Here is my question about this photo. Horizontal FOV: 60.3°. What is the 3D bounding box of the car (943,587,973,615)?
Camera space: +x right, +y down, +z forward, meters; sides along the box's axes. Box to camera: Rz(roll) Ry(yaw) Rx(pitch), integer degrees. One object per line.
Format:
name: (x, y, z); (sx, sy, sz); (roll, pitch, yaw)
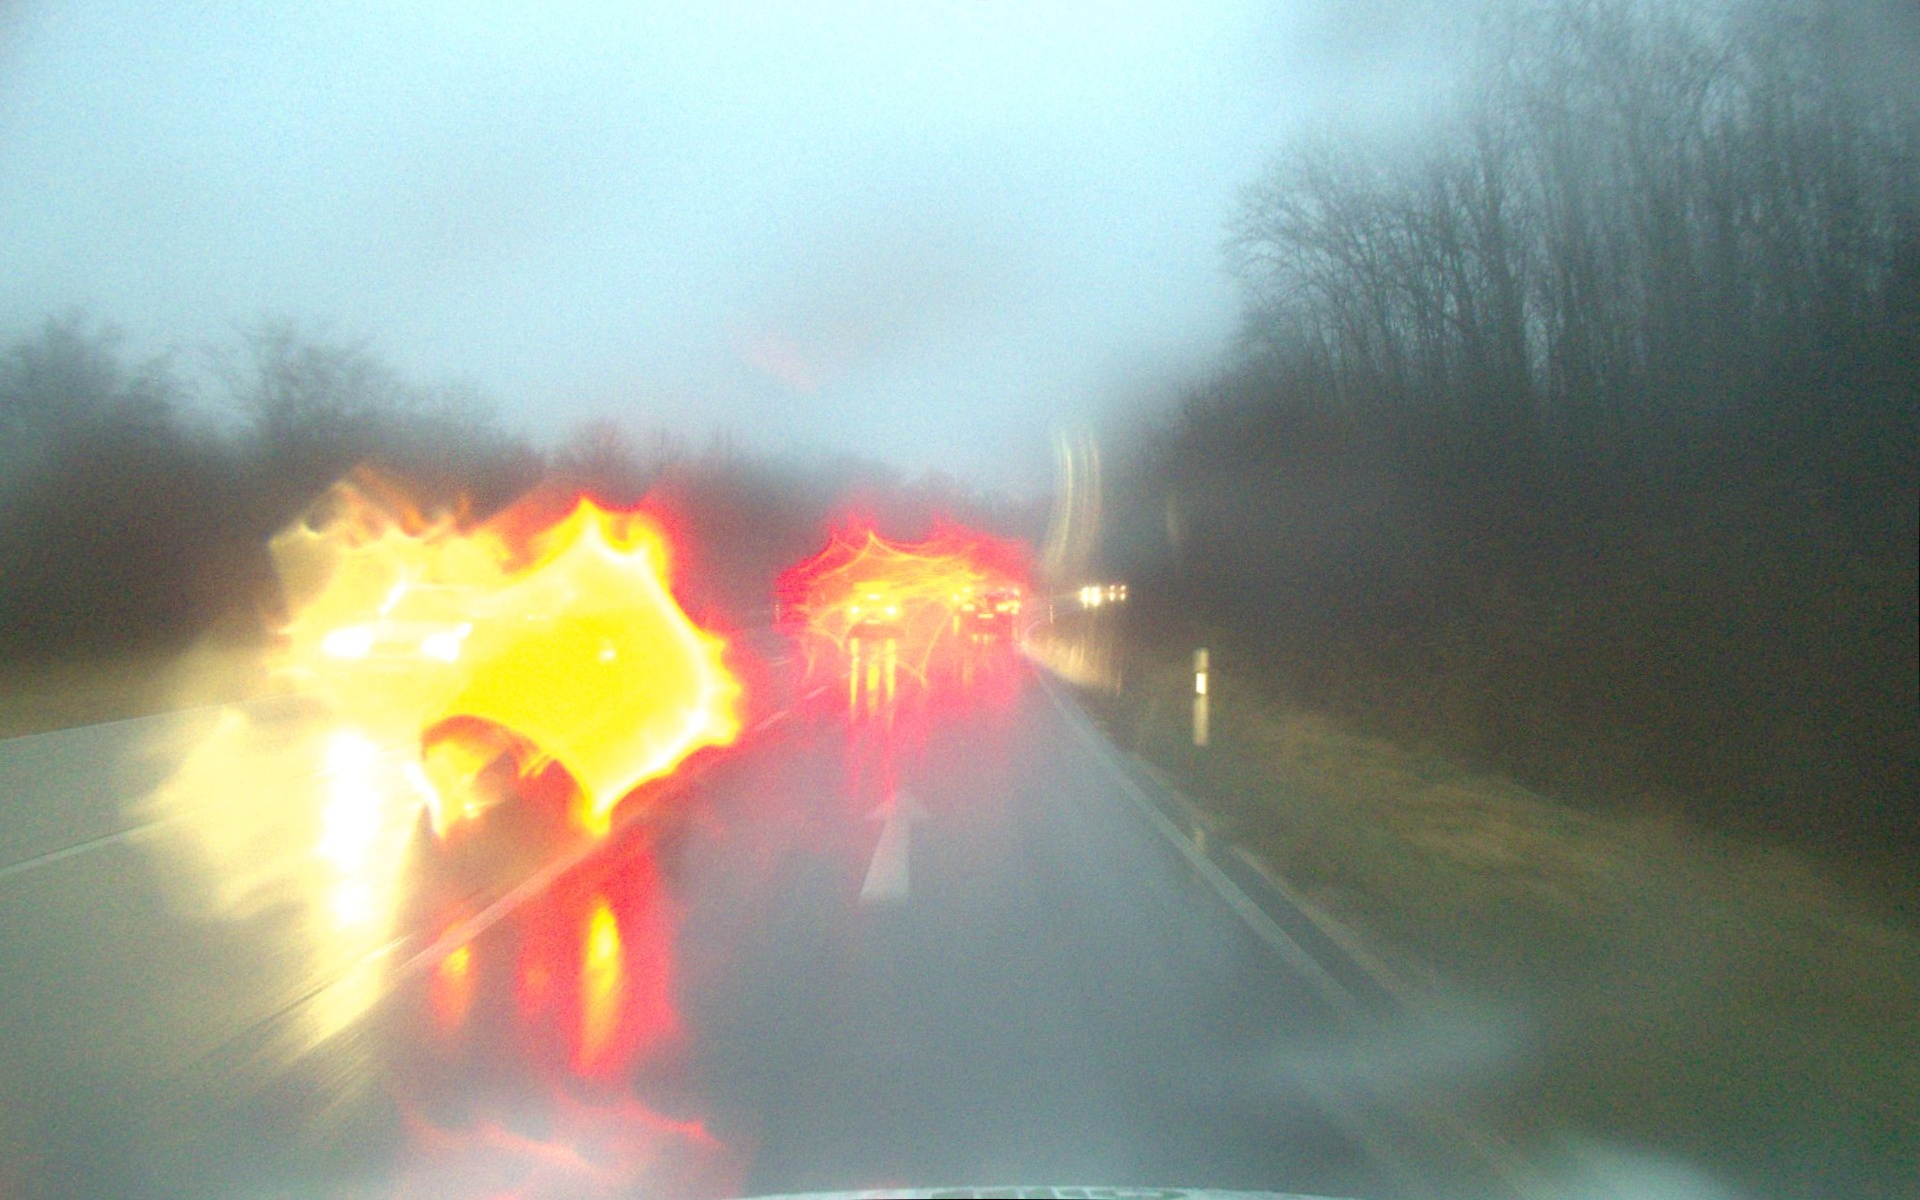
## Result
car: (-0.108, 0.036, 102.912); (1.677, 1.655, 4.219); (1, 1, 2)

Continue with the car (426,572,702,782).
car: (-3.122, 0.536, 13.787); (1.600, 1.446, 4.167); (2, 0, -5)

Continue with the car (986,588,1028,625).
car: (2.268, 0.272, 79.208); (1.643, 1.704, 4.101); (0, 1, 6)

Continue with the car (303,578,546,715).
car: (-7.232, 0.584, 22.882); (1.953, 1.677, 4.720); (1, 0, -2)

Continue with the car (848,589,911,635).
car: (-2.914, 0.410, 60.754); (1.963, 1.583, 4.518); (1, 0, 1)

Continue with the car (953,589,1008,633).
car: (0.729, 0.347, 55.773); (1.643, 1.414, 4.100); (0, 1, 4)
